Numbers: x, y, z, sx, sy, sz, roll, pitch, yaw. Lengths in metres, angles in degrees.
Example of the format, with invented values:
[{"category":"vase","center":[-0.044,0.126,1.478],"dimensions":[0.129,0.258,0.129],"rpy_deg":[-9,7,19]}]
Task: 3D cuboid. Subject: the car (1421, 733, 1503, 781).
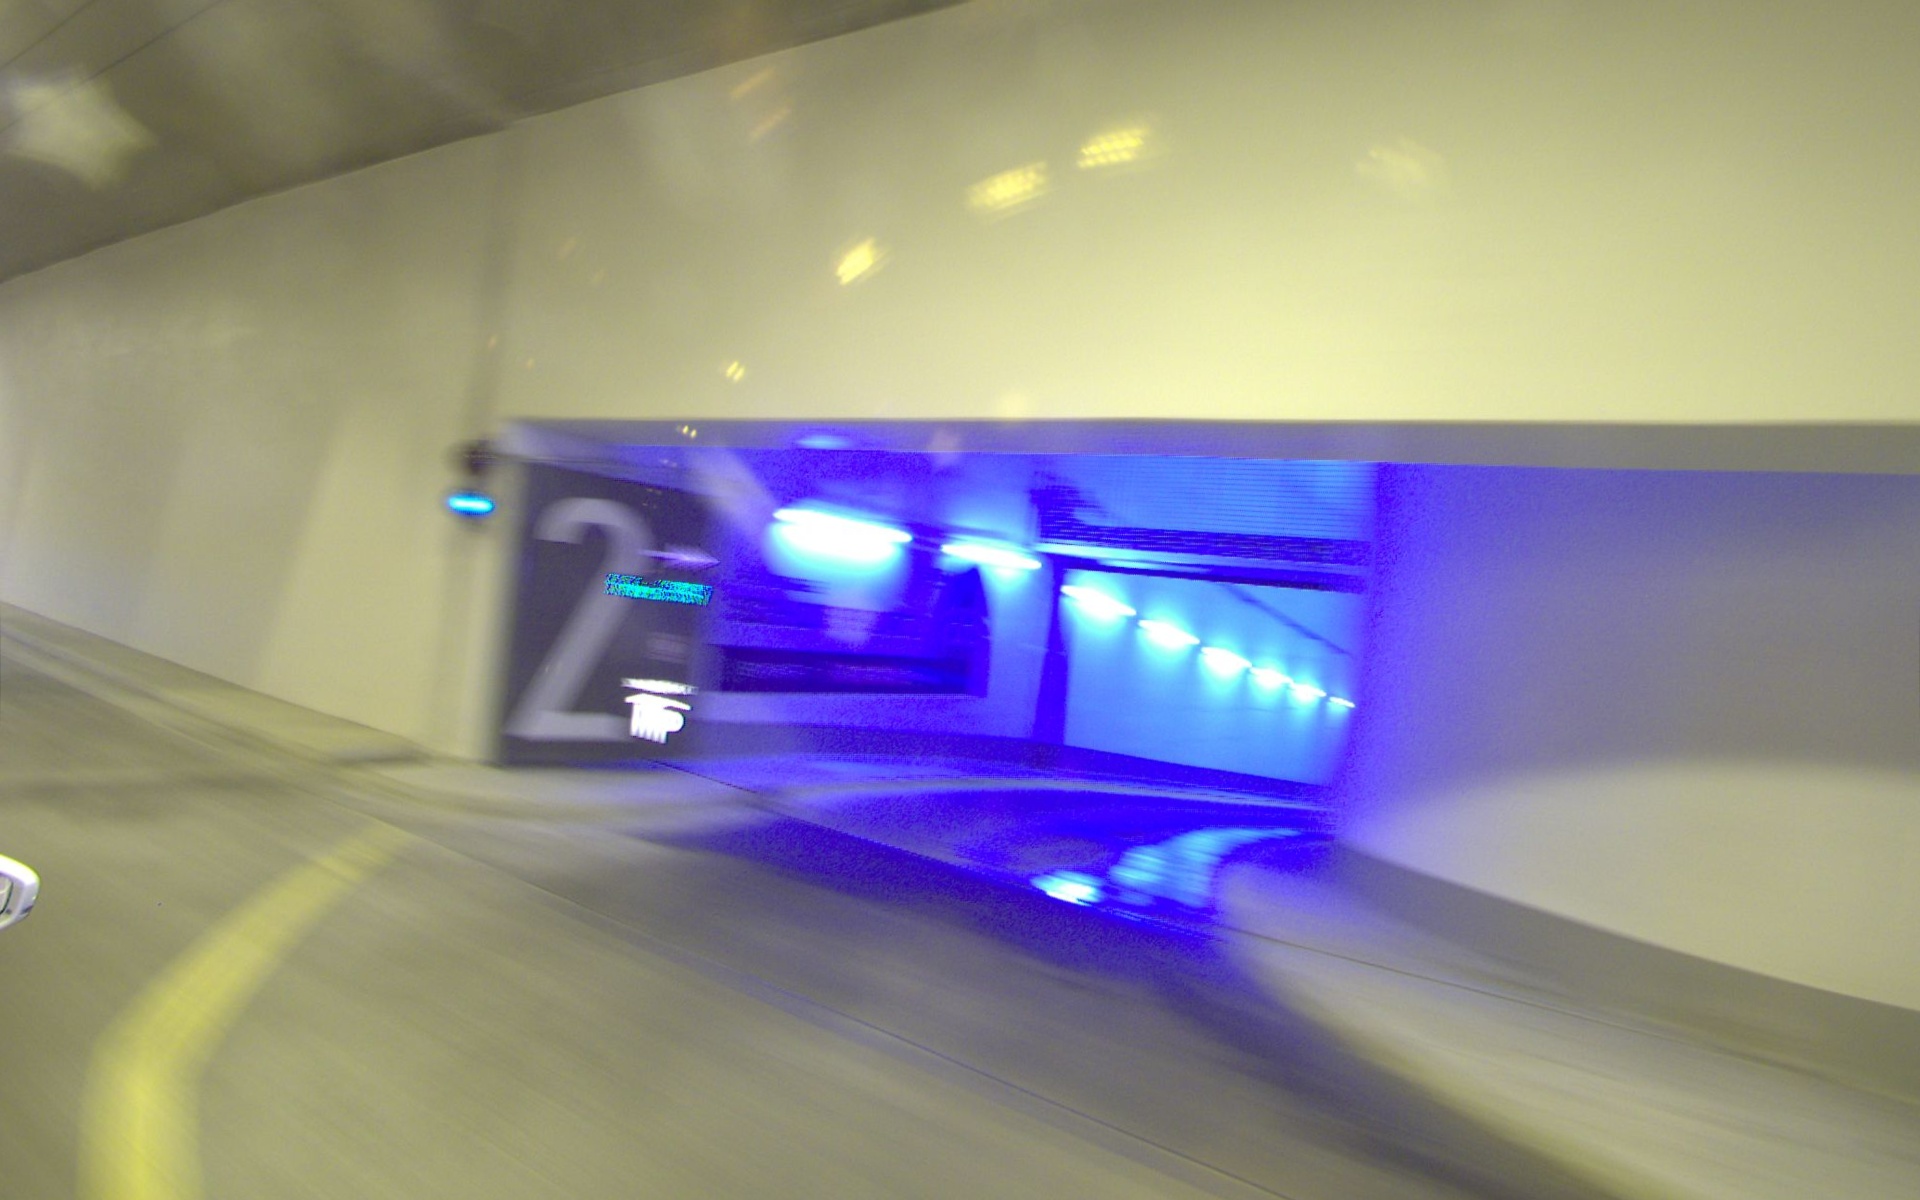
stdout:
[{"category":"car","center":[19.826,6.157,39.687],"dimensions":[1.971,1.496,3.827],"rpy_deg":[6,-2,40]}]
